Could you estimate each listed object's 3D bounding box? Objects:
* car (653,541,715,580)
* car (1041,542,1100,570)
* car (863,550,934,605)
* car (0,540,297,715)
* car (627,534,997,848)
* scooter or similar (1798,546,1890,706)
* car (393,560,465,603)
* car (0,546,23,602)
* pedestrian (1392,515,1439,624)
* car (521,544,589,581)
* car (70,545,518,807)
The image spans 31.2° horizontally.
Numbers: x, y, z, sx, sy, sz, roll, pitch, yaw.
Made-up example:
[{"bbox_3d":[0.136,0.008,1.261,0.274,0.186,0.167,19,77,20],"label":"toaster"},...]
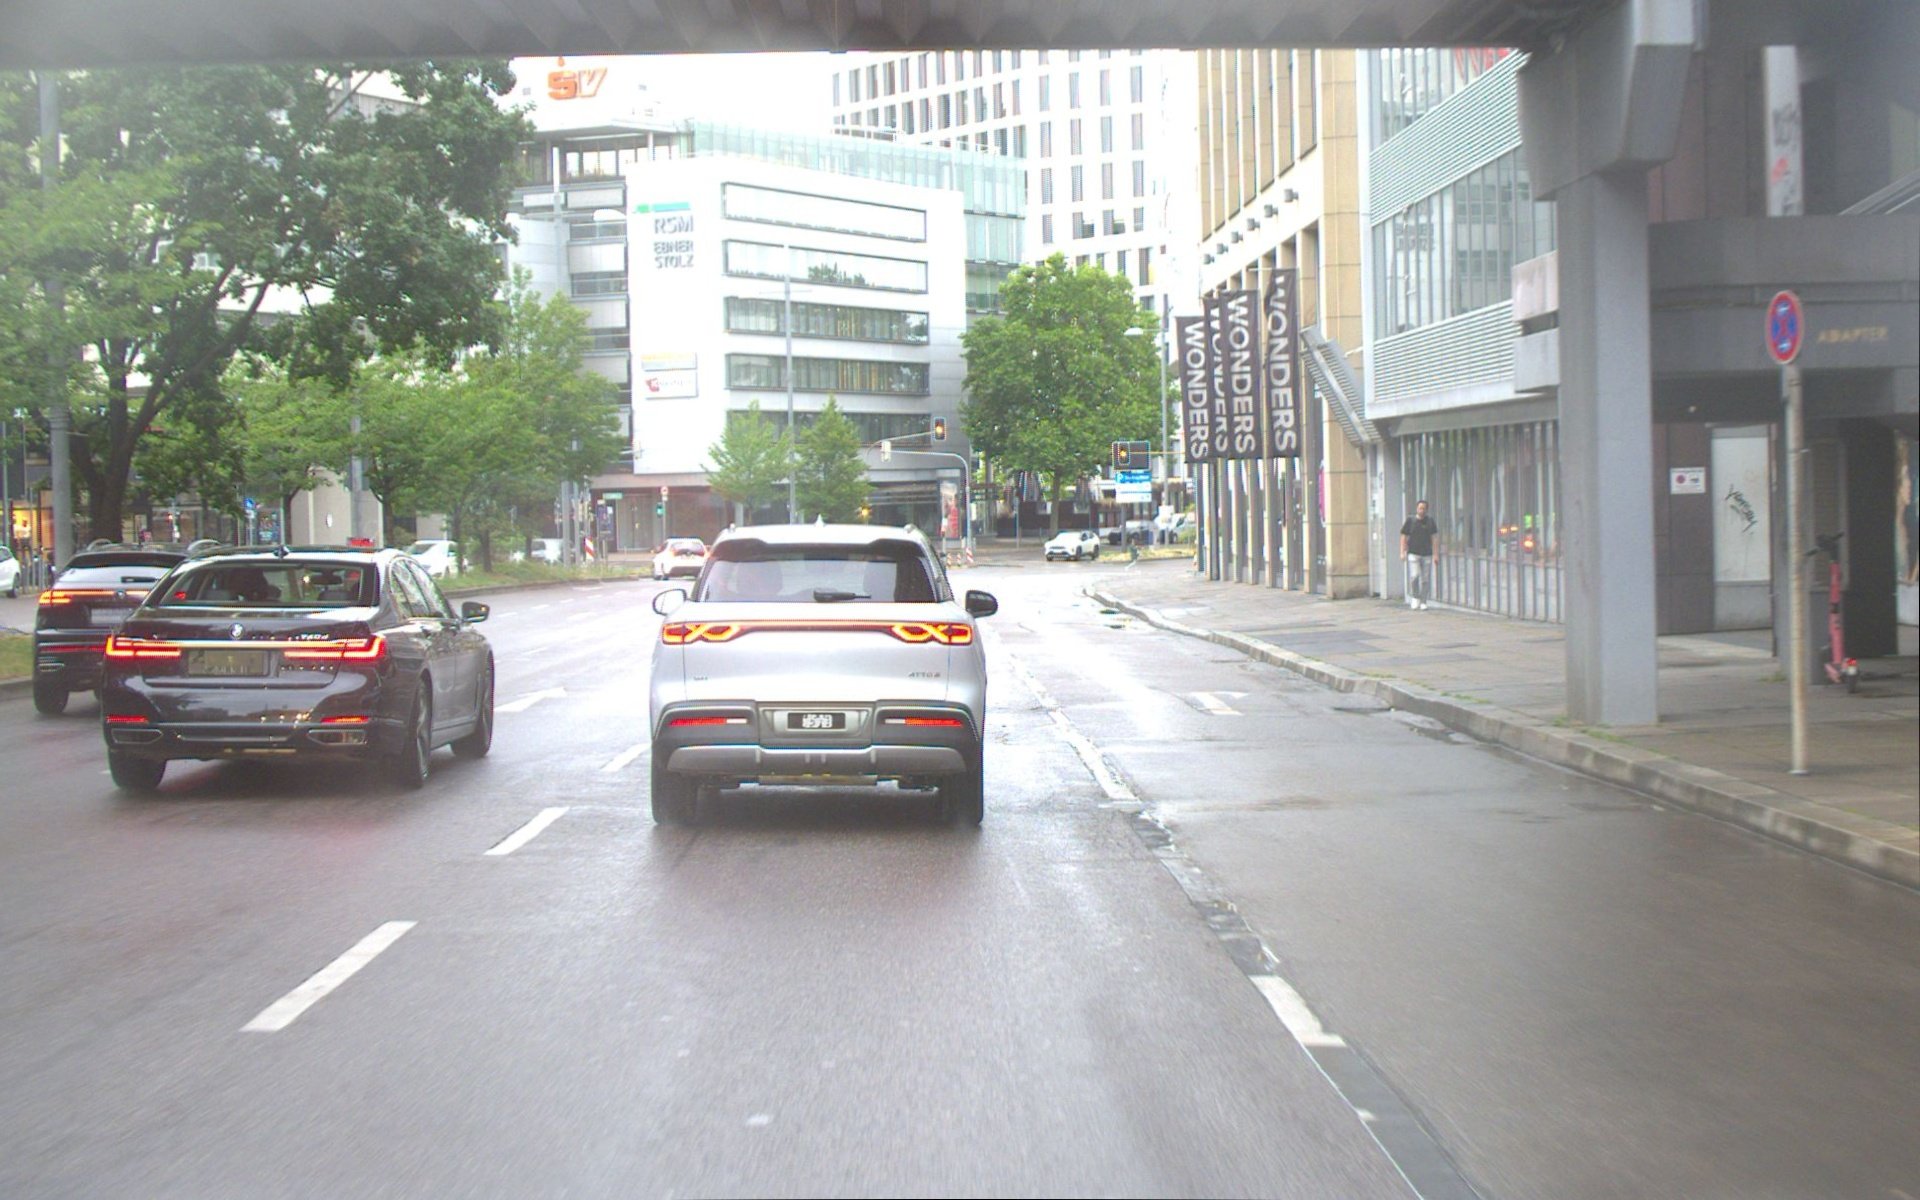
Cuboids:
[{"bbox_3d":[-9.875,-1.414,122.767,1.653,1.337,4.001,-1,1,-13],"label":"car"},{"bbox_3d":[6.128,-2.443,190.011,1.583,1.533,3.994,0,1,30],"label":"car"},{"bbox_3d":[-1.784,-0.682,101.181,1.812,1.573,4.000,0,1,3],"label":"car"},{"bbox_3d":[-7.255,0.221,31.098,1.774,1.452,4.000,-1,0,-1],"label":"car"},{"bbox_3d":[-0.796,0.441,19.747,1.901,1.616,4.000,0,1,-1],"label":"car"},{"bbox_3d":[7.116,0.197,27.709,0.349,1.251,1.395,-1,1,-1],"label":"scooter or similar"},{"bbox_3d":[-19.348,-0.680,125.399,1.623,1.487,4.306,-1,0,5],"label":"car"},{"bbox_3d":[-26.045,-0.704,90.911,1.623,1.455,3.963,0,1,-3],"label":"car"},{"bbox_3d":[7.459,-0.503,56.305,0.635,1.766,0.790,-1,0,0],"label":"pedestrian"},{"bbox_3d":[-16.626,-1.545,141.258,1.624,1.448,4.160,-1,0,10],"label":"car"},{"bbox_3d":[-4.162,0.447,22.305,1.872,1.474,4.878,-1,0,1],"label":"car"}]
